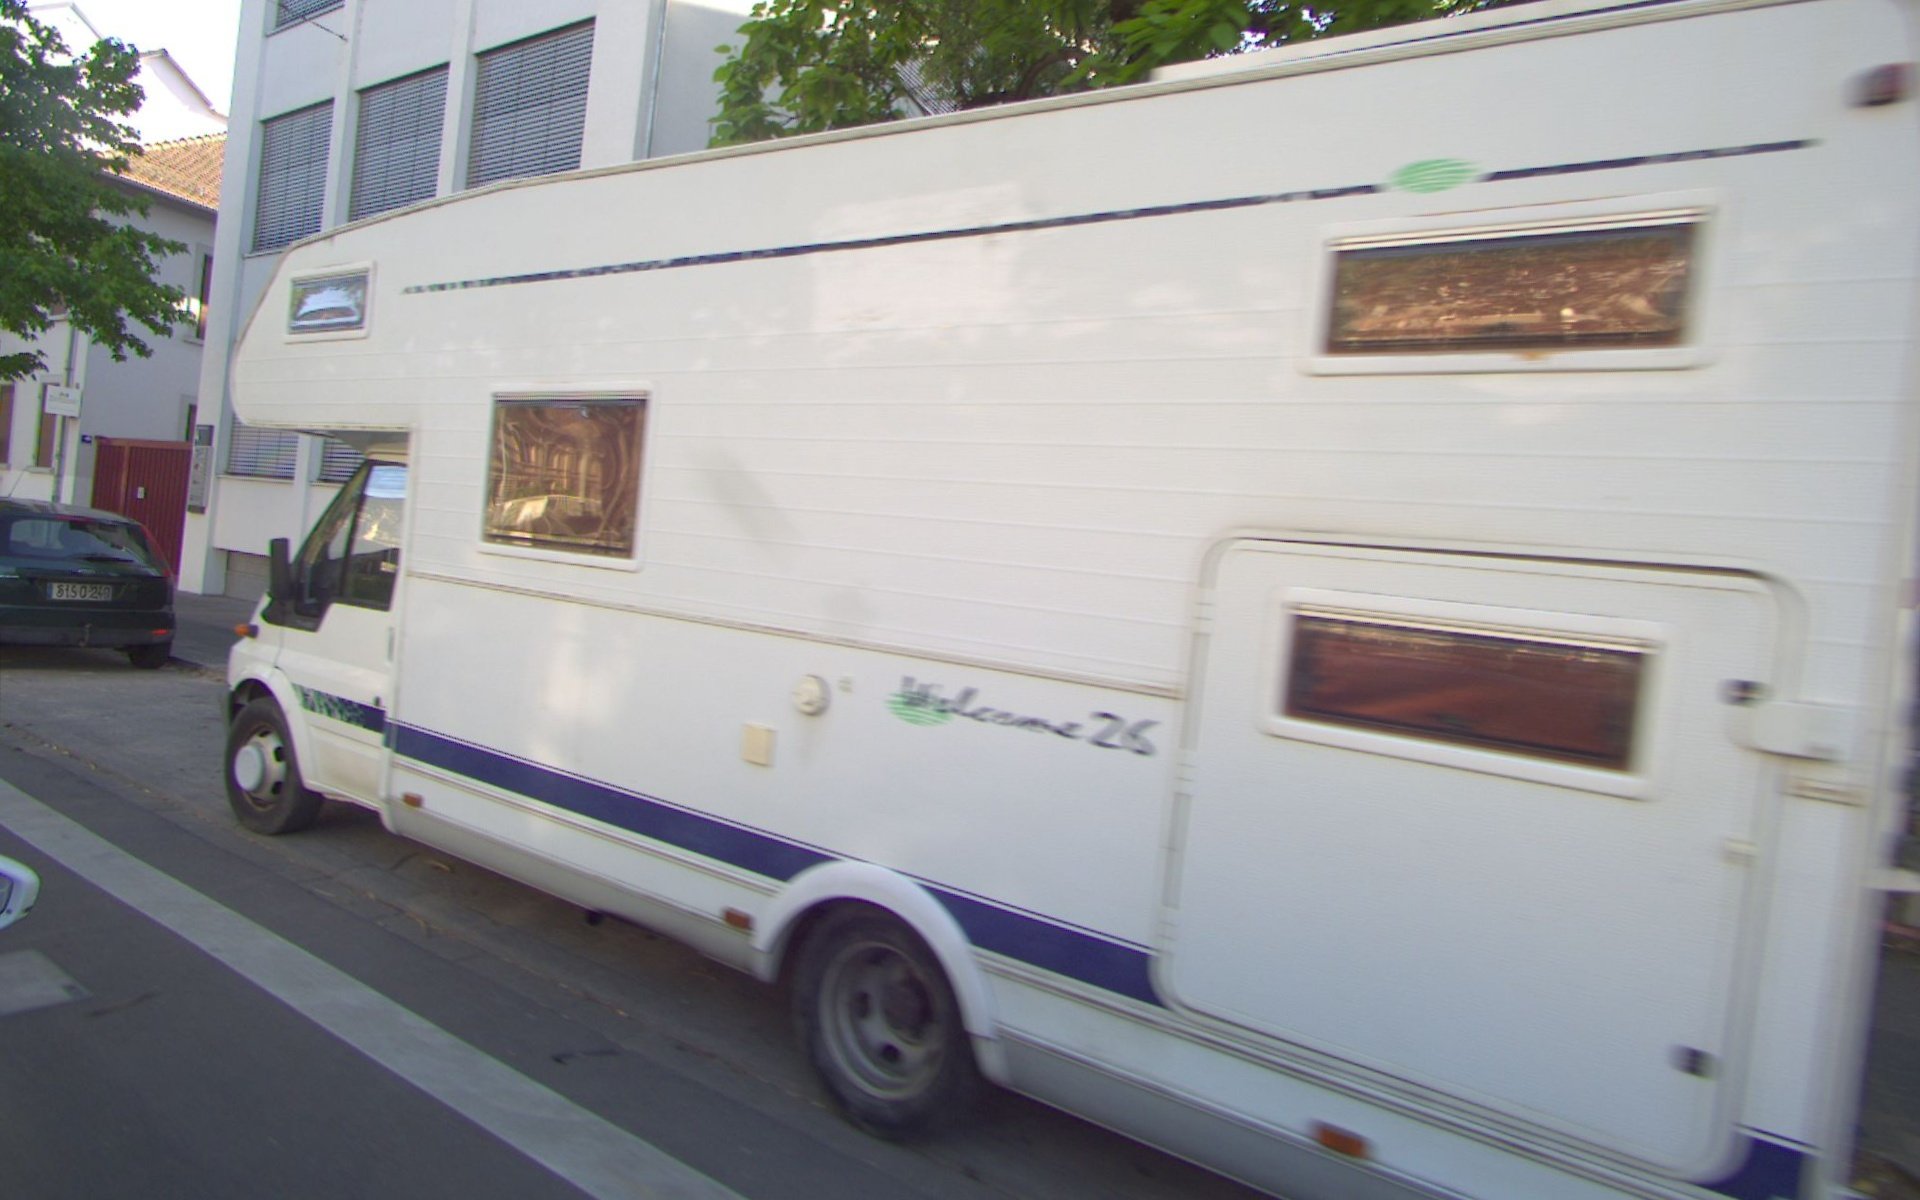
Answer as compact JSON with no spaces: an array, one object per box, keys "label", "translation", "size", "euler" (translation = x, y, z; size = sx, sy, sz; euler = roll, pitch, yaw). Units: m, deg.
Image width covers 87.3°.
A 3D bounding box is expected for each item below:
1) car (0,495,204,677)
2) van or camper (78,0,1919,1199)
[{"label":"car","translation":[-9.148,-0.265,9.537],"size":[3.980,1.438,1.688],"euler":[7,1,30]},{"label":"van or camper","translation":[-0.729,-0.202,4.257],"size":[7.425,3.168,2.375],"euler":[7,3,32]}]
